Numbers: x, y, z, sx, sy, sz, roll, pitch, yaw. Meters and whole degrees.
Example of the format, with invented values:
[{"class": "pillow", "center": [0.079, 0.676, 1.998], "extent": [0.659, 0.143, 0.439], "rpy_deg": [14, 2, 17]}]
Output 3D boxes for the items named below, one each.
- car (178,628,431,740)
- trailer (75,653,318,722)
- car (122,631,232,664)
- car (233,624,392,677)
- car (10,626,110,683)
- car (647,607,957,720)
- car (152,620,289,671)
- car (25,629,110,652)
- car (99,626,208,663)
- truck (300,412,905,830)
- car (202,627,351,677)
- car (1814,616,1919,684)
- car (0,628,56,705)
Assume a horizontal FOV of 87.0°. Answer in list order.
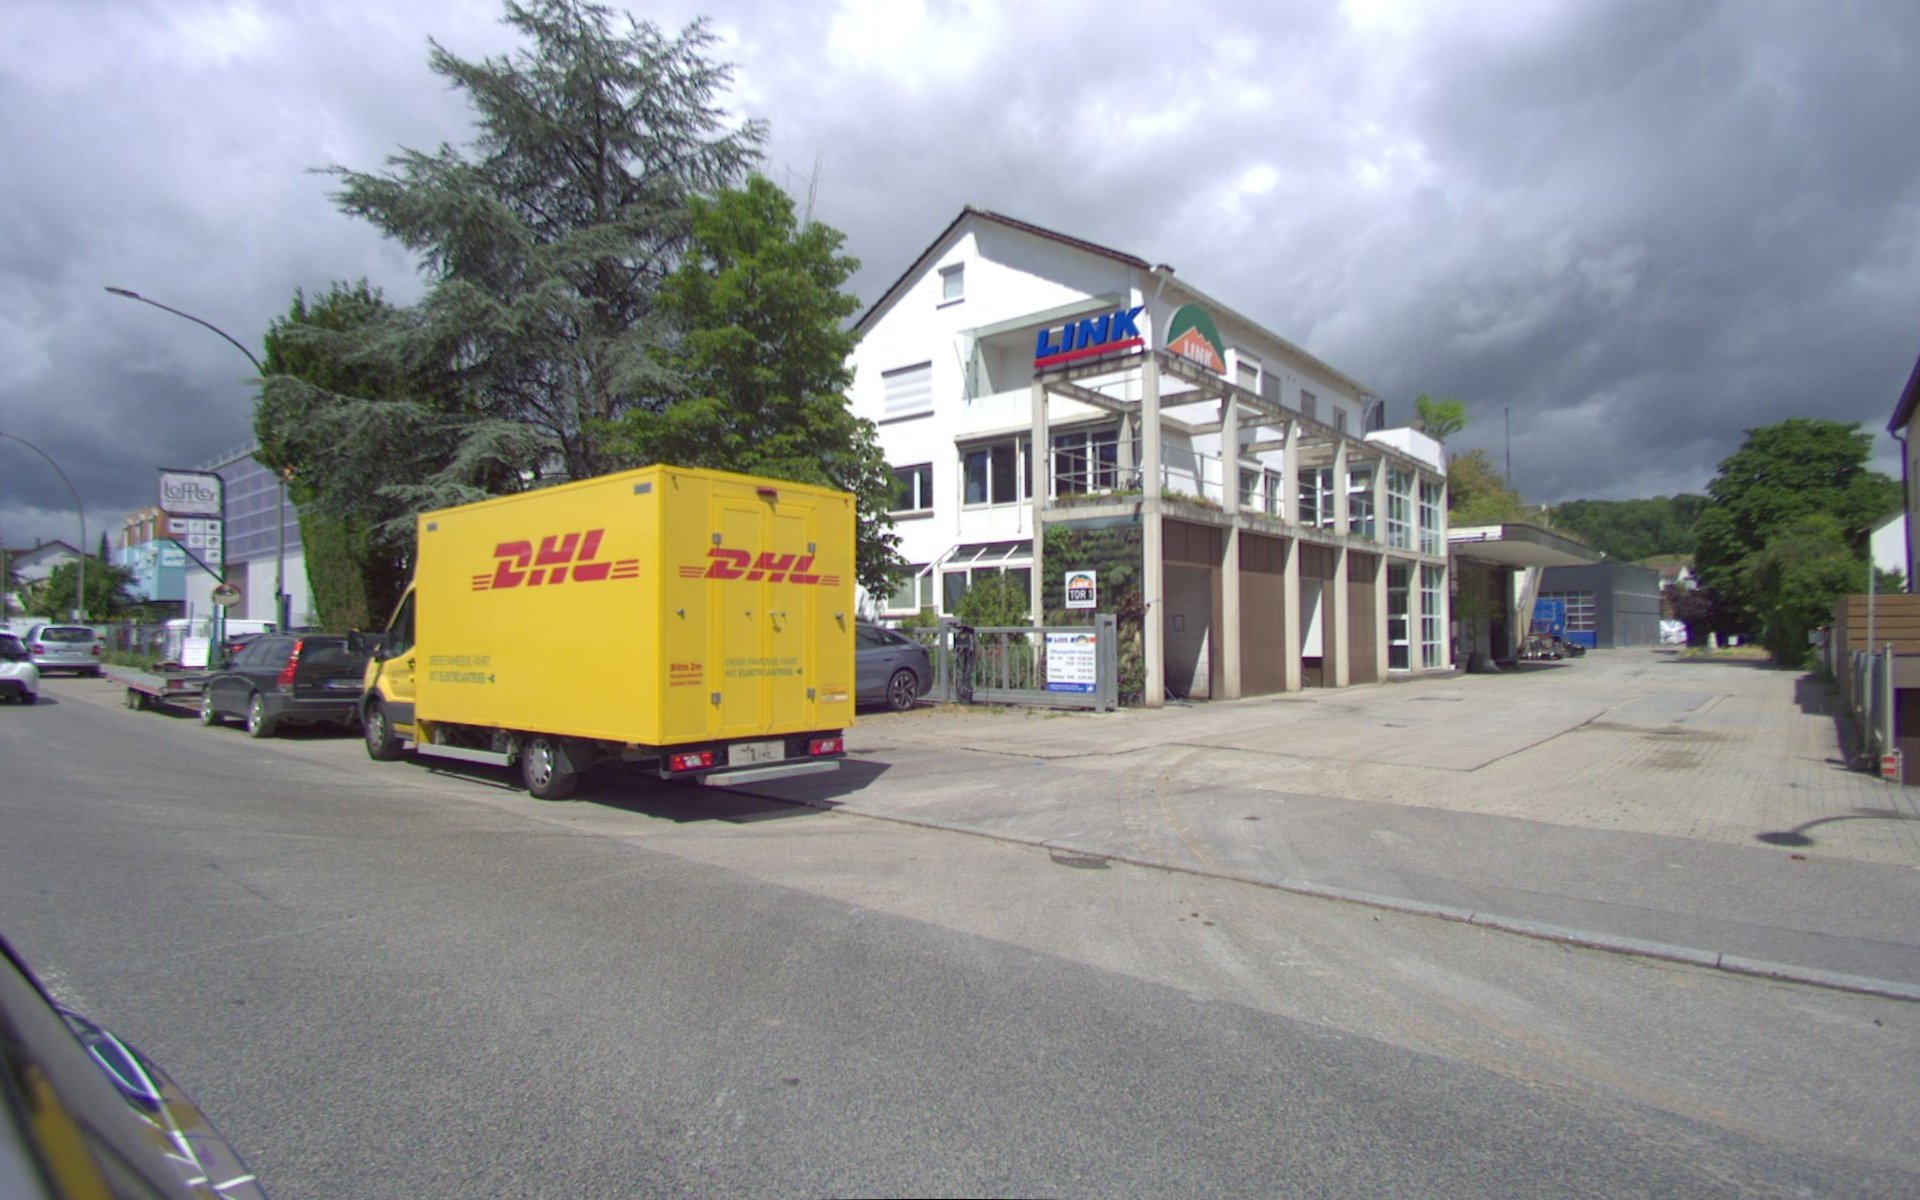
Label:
[{"class": "car", "center": [-10.193, 1.223, 15.587], "extent": [4.810, 1.464, 1.972], "rpy_deg": [-2, -6, 42]}, {"class": "trailer", "center": [-15.015, 1.592, 19.647], "extent": [7.455, 0.998, 2.294], "rpy_deg": [-2, -4, 41]}, {"class": "car", "center": [-37.858, 2.288, 48.985], "extent": [1.775, 1.513, 3.905], "rpy_deg": [-3, -4, 39]}, {"class": "car", "center": [-21.846, 1.655, 34.281], "extent": [1.997, 1.683, 4.118], "rpy_deg": [-1, -2, 38]}, {"class": "car", "center": [-28.161, 1.682, 31.633], "extent": [4.126, 1.689, 1.785], "rpy_deg": [-2, -4, 41]}, {"class": "car", "center": [-2.368, 0.934, 16.475], "extent": [1.971, 1.563, 4.958], "rpy_deg": [-1, -2, 39]}, {"class": "car", "center": [-28.874, 1.766, 39.581], "extent": [1.999, 1.891, 3.945], "rpy_deg": [-2, -3, 41]}, {"class": "car", "center": [-59.123, 2.665, 67.118], "extent": [1.674, 1.505, 3.995], "rpy_deg": [-2, -3, 40]}, {"class": "car", "center": [-40.412, 2.225, 50.770], "extent": [1.999, 1.750, 3.945], "rpy_deg": [0, -2, 41]}, {"class": "truck", "center": [-4.244, 0.278, 10.728], "extent": [7.812, 3.026, 2.300], "rpy_deg": [-2, -4, 40]}, {"class": "car", "center": [-24.456, 1.830, 36.304], "extent": [2.101, 1.683, 3.948], "rpy_deg": [-1, -3, 38]}, {"class": "car", "center": [32.597, 1.770, 35.352], "extent": [4.002, 2.028, 1.971], "rpy_deg": [6, 3, 43]}, {"class": "car", "center": [-19.693, 1.280, 20.081], "extent": [3.995, 1.431, 1.962], "rpy_deg": [-1, -3, 39]}]
